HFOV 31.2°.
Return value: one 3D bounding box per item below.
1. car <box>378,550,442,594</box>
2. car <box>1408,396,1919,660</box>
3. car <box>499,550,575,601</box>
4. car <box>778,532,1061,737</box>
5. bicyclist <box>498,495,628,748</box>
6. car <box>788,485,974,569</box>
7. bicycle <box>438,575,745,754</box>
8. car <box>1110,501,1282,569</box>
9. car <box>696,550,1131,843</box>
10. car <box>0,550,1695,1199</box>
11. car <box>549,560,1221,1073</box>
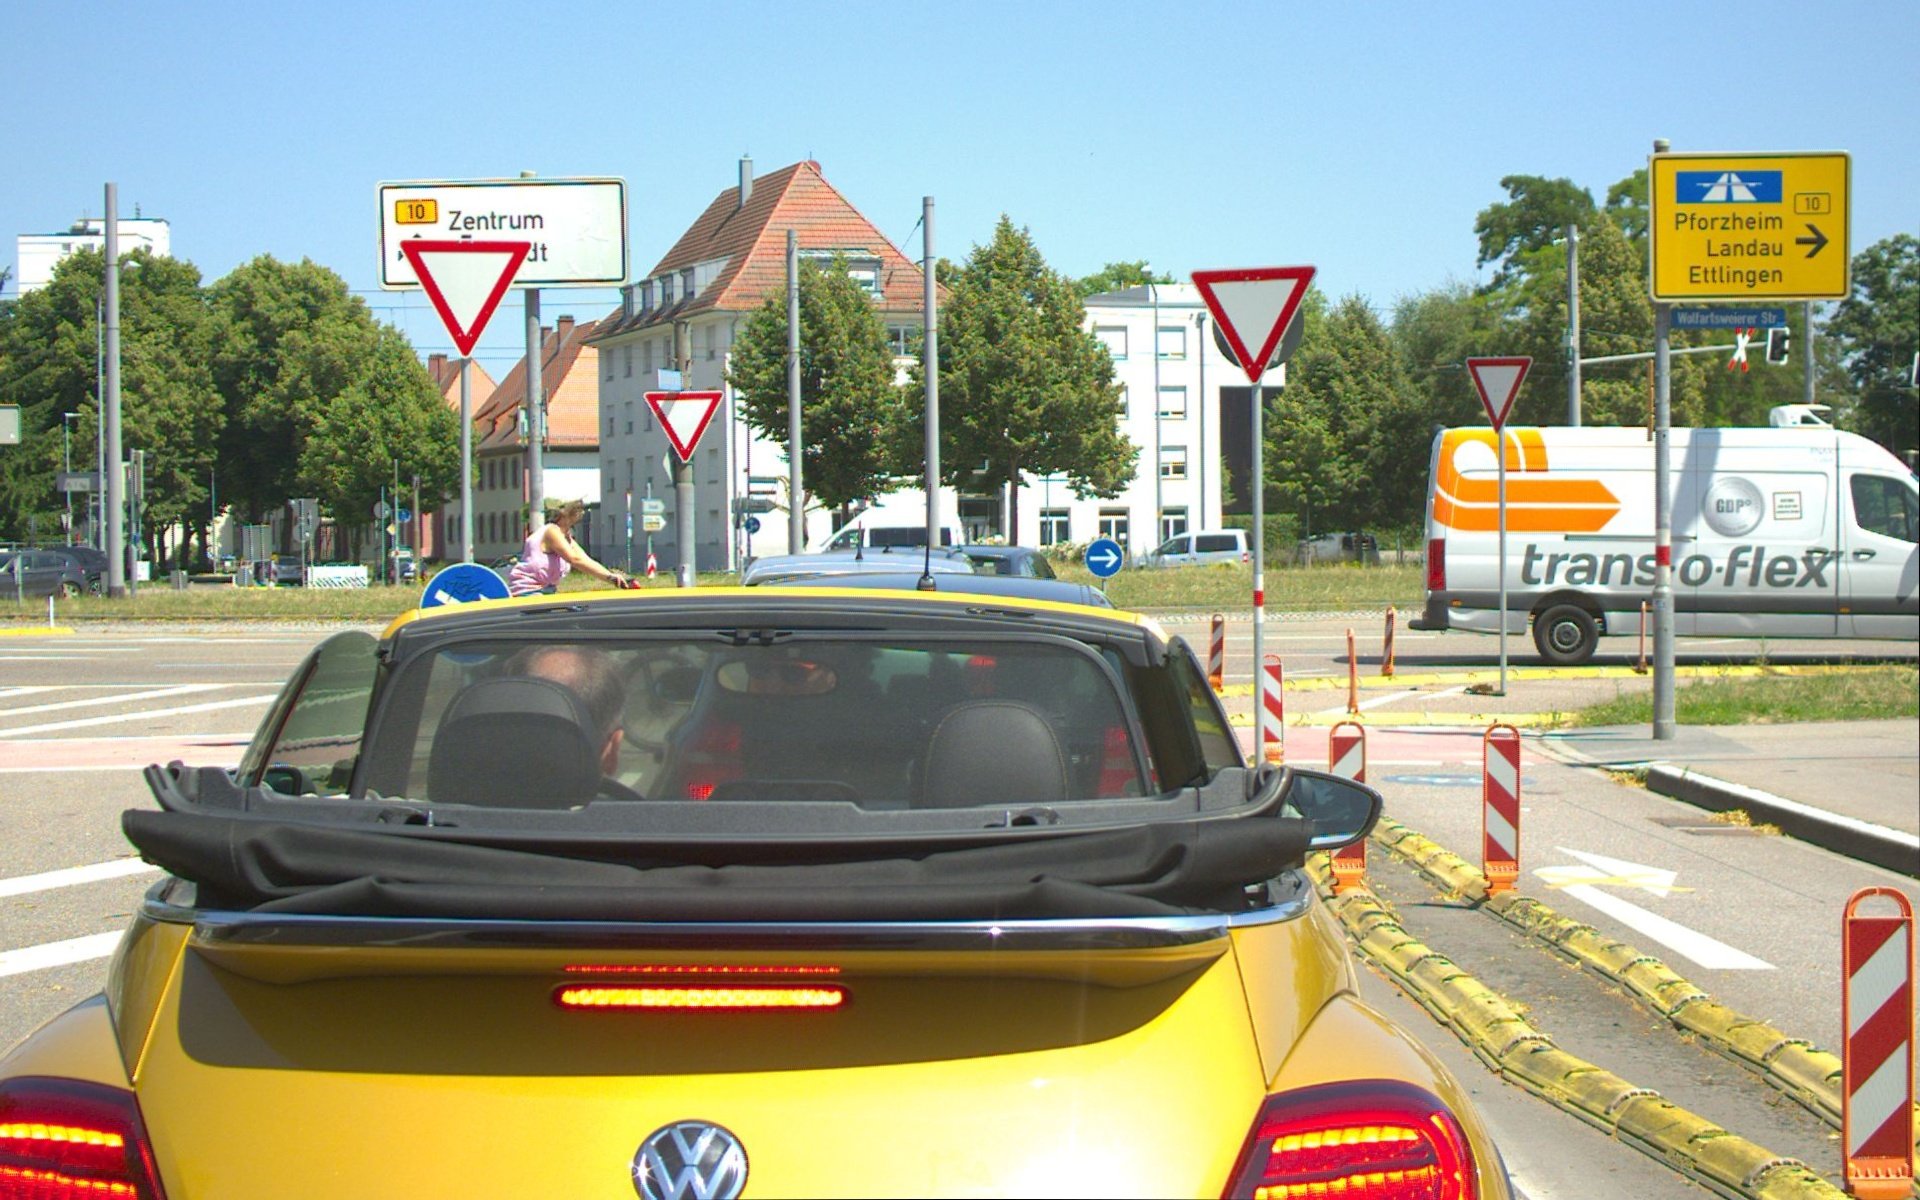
[{"bbox_3d":[-22.494,-1.160,140.488,1.884,1.766,4.001,1,1,-19],"label":"car"},{"bbox_3d":[8.516,-0.801,38.505,6.864,2.818,1.999,1,0,9],"label":"car"},{"bbox_3d":[-15.328,-0.901,124.476,1.884,1.766,4.001,1,1,-19],"label":"car"},{"bbox_3d":[-0.327,0.209,27.631,2.065,1.476,4.543,-1,1,-1],"label":"car"},{"bbox_3d":[-2.799,0.145,24.283,0.670,1.746,0.592,-1,2,21],"label":"bicyclist"},{"bbox_3d":[-2.304,-2.138,101.324,5.311,2.389,1.994,1,0,3],"label":"car"},{"bbox_3d":[-2.610,0.448,24.333,2.094,1.217,0.633,0,1,22],"label":"bicycle"},{"bbox_3d":[7.535,-2.063,109.551,5.313,2.063,1.993,1,0,9],"label":"car"},{"bbox_3d":[-0.246,0.442,18.590,2.065,1.377,4.258,1,1,-1],"label":"car"},{"bbox_3d":[-0.281,0.681,5.099,1.765,1.476,4.258,1,1,-1],"label":"car"},{"bbox_3d":[-0.231,0.579,11.698,1.851,1.361,4.258,-1,1,-1],"label":"car"}]
